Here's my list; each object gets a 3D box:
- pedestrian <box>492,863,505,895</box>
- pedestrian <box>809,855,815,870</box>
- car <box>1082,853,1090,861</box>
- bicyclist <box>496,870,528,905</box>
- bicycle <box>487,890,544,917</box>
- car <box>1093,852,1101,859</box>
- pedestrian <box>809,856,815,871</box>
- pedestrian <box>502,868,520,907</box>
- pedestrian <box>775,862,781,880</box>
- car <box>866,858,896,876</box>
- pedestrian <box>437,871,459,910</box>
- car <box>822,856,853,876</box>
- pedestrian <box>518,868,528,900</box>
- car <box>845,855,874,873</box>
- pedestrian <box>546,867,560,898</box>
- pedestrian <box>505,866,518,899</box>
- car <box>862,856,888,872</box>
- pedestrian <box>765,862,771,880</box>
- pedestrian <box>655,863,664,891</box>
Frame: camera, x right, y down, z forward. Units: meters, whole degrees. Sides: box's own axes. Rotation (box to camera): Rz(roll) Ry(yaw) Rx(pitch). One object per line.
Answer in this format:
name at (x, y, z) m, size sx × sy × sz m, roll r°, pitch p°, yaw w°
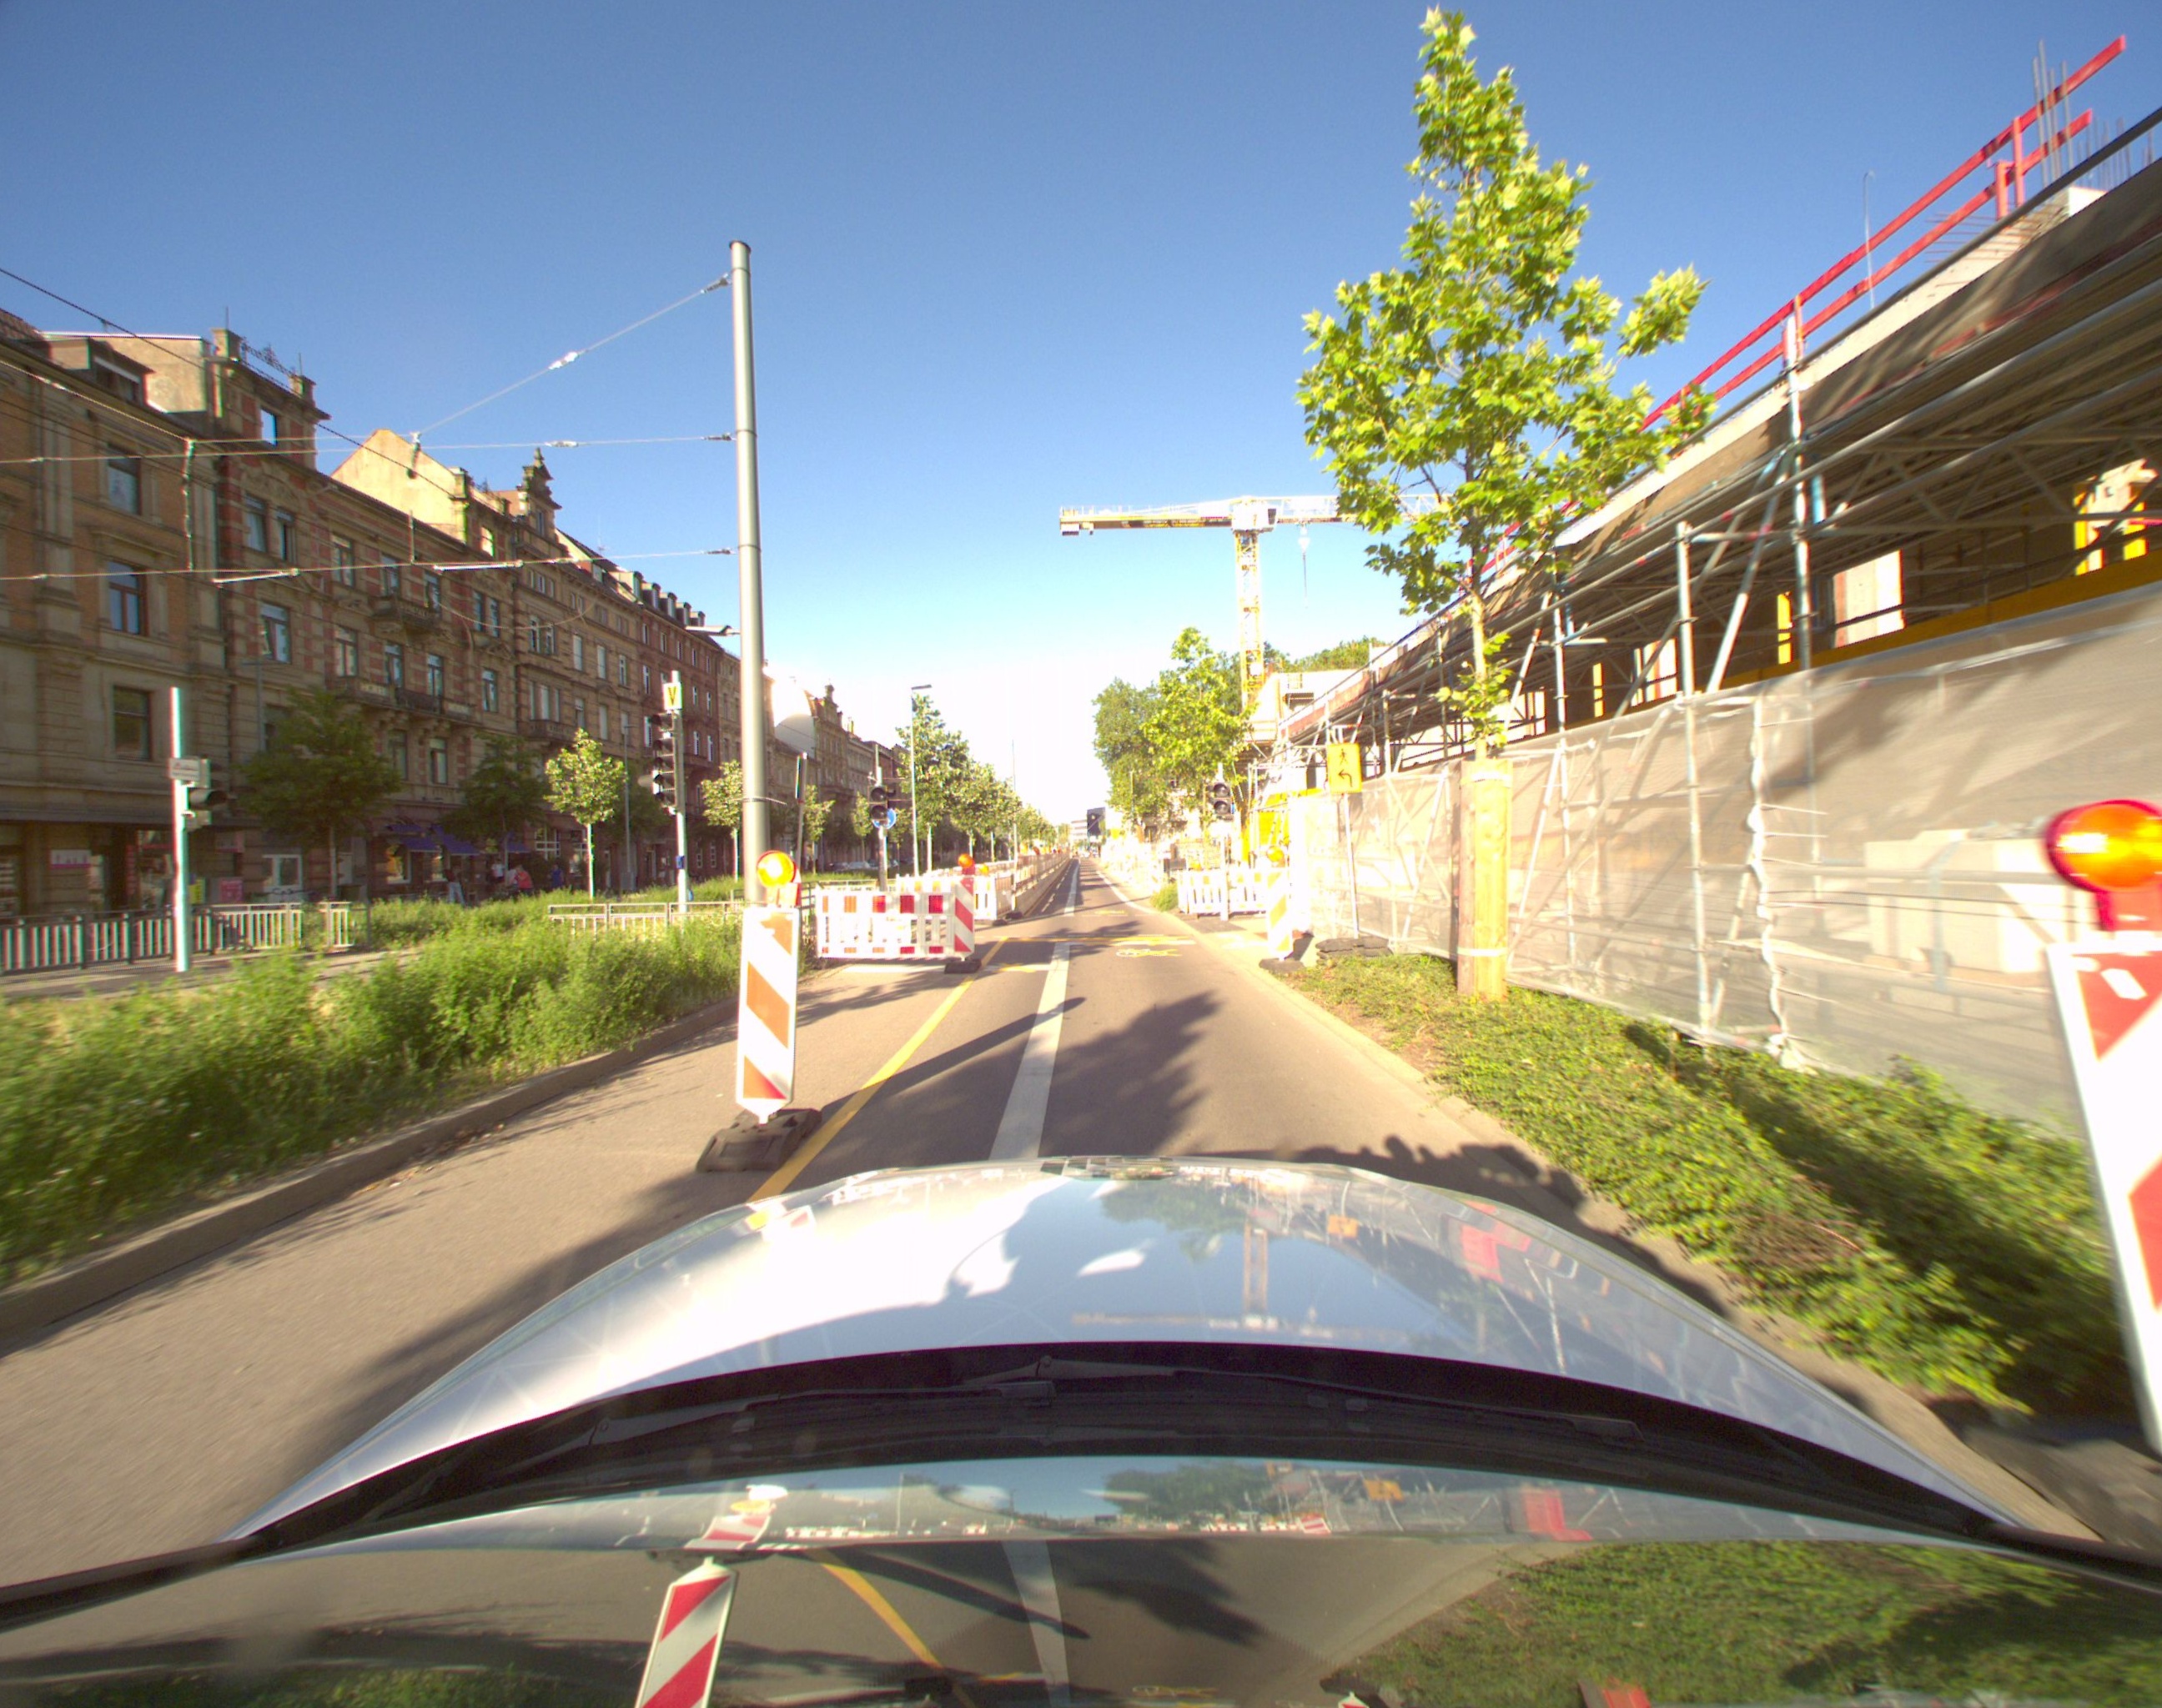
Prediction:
pedestrian at (-28.796, 1.239, 40.286) m, size 0.381 × 1.585 × 0.393 m, roll 0°, pitch -1°, yaw 31°
pedestrian at (-26.807, 0.844, 81.111) m, size 0.404 × 1.534 × 0.435 m, roll 0°, pitch 0°, yaw 0°
car at (1.200, 0.739, 193.166) m, size 1.877 × 1.842 × 3.667 m, roll -2°, pitch 0°, yaw 0°
bicyclist at (-21.032, 1.220, 30.097) m, size 0.635 × 1.239 × 0.738 m, roll -2°, pitch 0°, yaw 1°
bicycle at (-21.027, 1.818, 30.324) m, size 0.635 × 0.857 × 2.032 m, roll -2°, pitch 0°, yaw 1°
car at (4.337, 0.473, 220.148) m, size 1.877 × 1.842 × 3.667 m, roll -2°, pitch 0°, yaw 0°
pedestrian at (-26.790, 0.969, 81.098) m, size 0.404 × 1.532 × 0.435 m, roll 0°, pitch 0°, yaw 0°
pedestrian at (-25.878, 1.516, 36.968) m, size 0.506 × 1.765 × 0.406 m, roll 0°, pitch 0°, yaw 0°
pedestrian at (-26.867, 1.500, 72.212) m, size 0.427 × 1.585 × 0.339 m, roll 0°, pitch 0°, yaw 1°
car at (-17.754, 1.104, 72.424) m, size 1.589 × 1.483 × 3.624 m, roll -2°, pitch 0°, yaw 2°
pedestrian at (-26.172, 1.495, 33.688) m, size 0.485 × 1.585 × 0.533 m, roll 0°, pitch 0°, yaw 0°
car at (-22.007, 1.089, 73.729) m, size 1.561 × 1.675 × 3.808 m, roll -2°, pitch 0°, yaw 0°
pedestrian at (-27.885, 1.507, 40.689) m, size 0.370 × 1.585 × 0.401 m, roll 1°, pitch -1°, yaw -39°
car at (-21.930, 0.974, 80.683) m, size 1.561 × 1.562 × 4.714 m, roll -2°, pitch 0°, yaw 0°
pedestrian at (-27.051, 1.470, 41.729) m, size 0.402 × 1.585 × 0.425 m, roll 0°, pitch 0°, yaw 0°
pedestrian at (-28.280, 1.406, 40.435) m, size 0.485 × 1.585 × 0.477 m, roll 1°, pitch -1°, yaw -33°
car at (-21.989, 1.069, 87.106) m, size 1.561 × 1.562 × 4.713 m, roll -2°, pitch 0°, yaw 0°
pedestrian at (-27.726, 1.519, 72.157) m, size 0.432 × 1.585 × 0.385 m, roll 0°, pitch 0°, yaw -3°
pedestrian at (-27.080, 1.488, 52.333) m, size 0.365 × 1.765 × 0.406 m, roll 0°, pitch 0°, yaw 0°
